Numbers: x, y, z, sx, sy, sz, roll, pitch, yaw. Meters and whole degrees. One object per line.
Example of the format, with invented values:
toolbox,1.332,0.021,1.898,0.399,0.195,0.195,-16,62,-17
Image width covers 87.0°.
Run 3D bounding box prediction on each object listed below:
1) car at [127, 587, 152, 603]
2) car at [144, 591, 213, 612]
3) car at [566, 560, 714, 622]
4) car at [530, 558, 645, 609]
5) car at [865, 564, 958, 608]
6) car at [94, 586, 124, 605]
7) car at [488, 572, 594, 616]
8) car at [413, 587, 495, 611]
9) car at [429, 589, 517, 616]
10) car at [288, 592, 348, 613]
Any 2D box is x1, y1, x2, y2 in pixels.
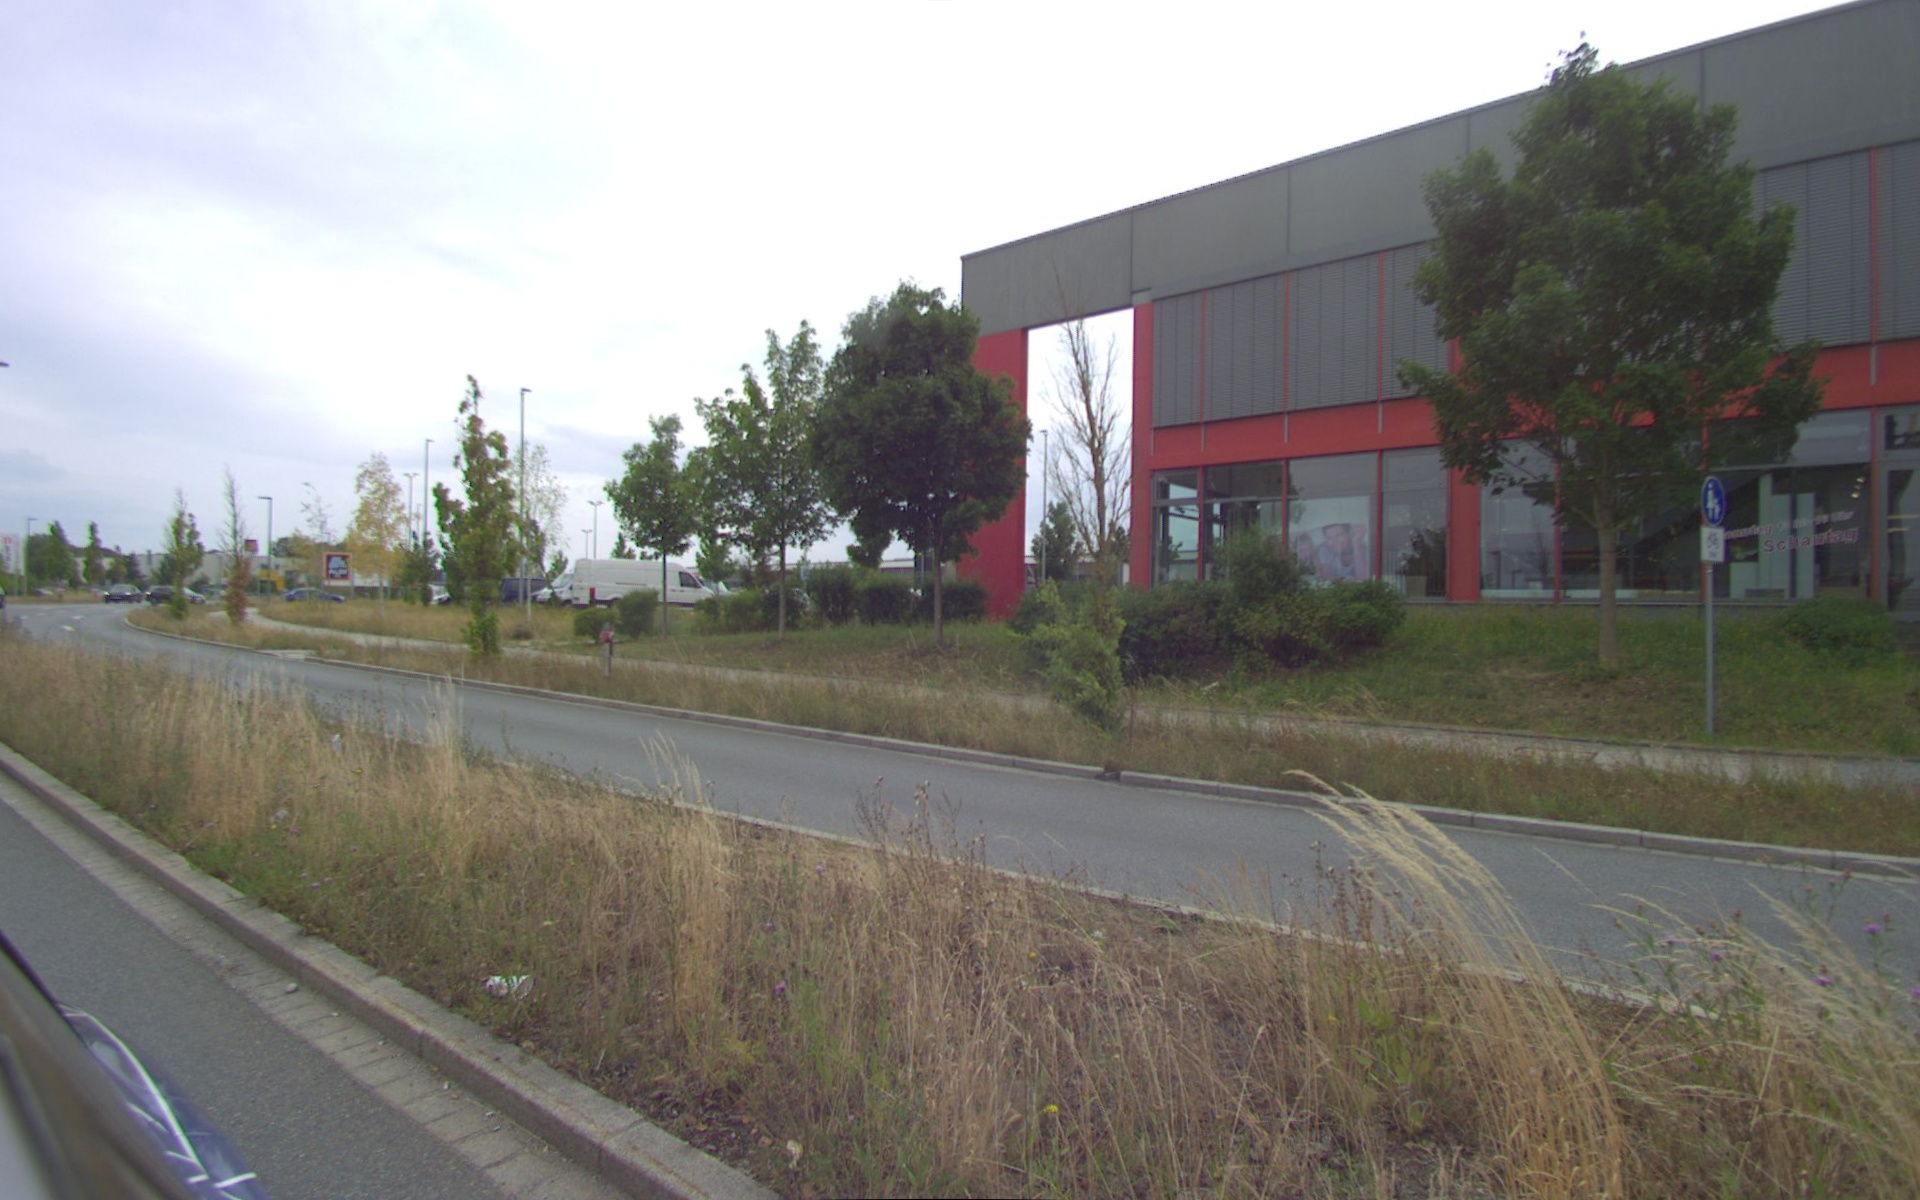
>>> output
car,-87.075,-0.540,107.390,1.968,1.586,4.007,0,1,-40
car,-60.028,0.122,77.782,3.931,1.586,2.006,0,1,-29
car,-14.581,-0.433,46.474,2.065,2.643,6.328,1,1,43
car,-18.275,-0.824,49.854,2.063,2.390,4.990,1,1,40
car,-2.744,-0.814,56.833,5.047,2.390,2.040,1,1,36
car,-74.401,-0.403,88.561,1.968,1.586,4.007,0,1,-40
car,-23.152,-0.296,56.026,4.981,2.240,2.067,2,-1,-43
car,-37.133,-0.049,74.327,4.978,1.669,2.068,2,-1,-41
car,-32.787,0.165,68.182,4.978,1.669,2.068,2,-1,-41
car,-51.524,0.207,81.280,3.931,1.524,1.740,2,-1,-30
